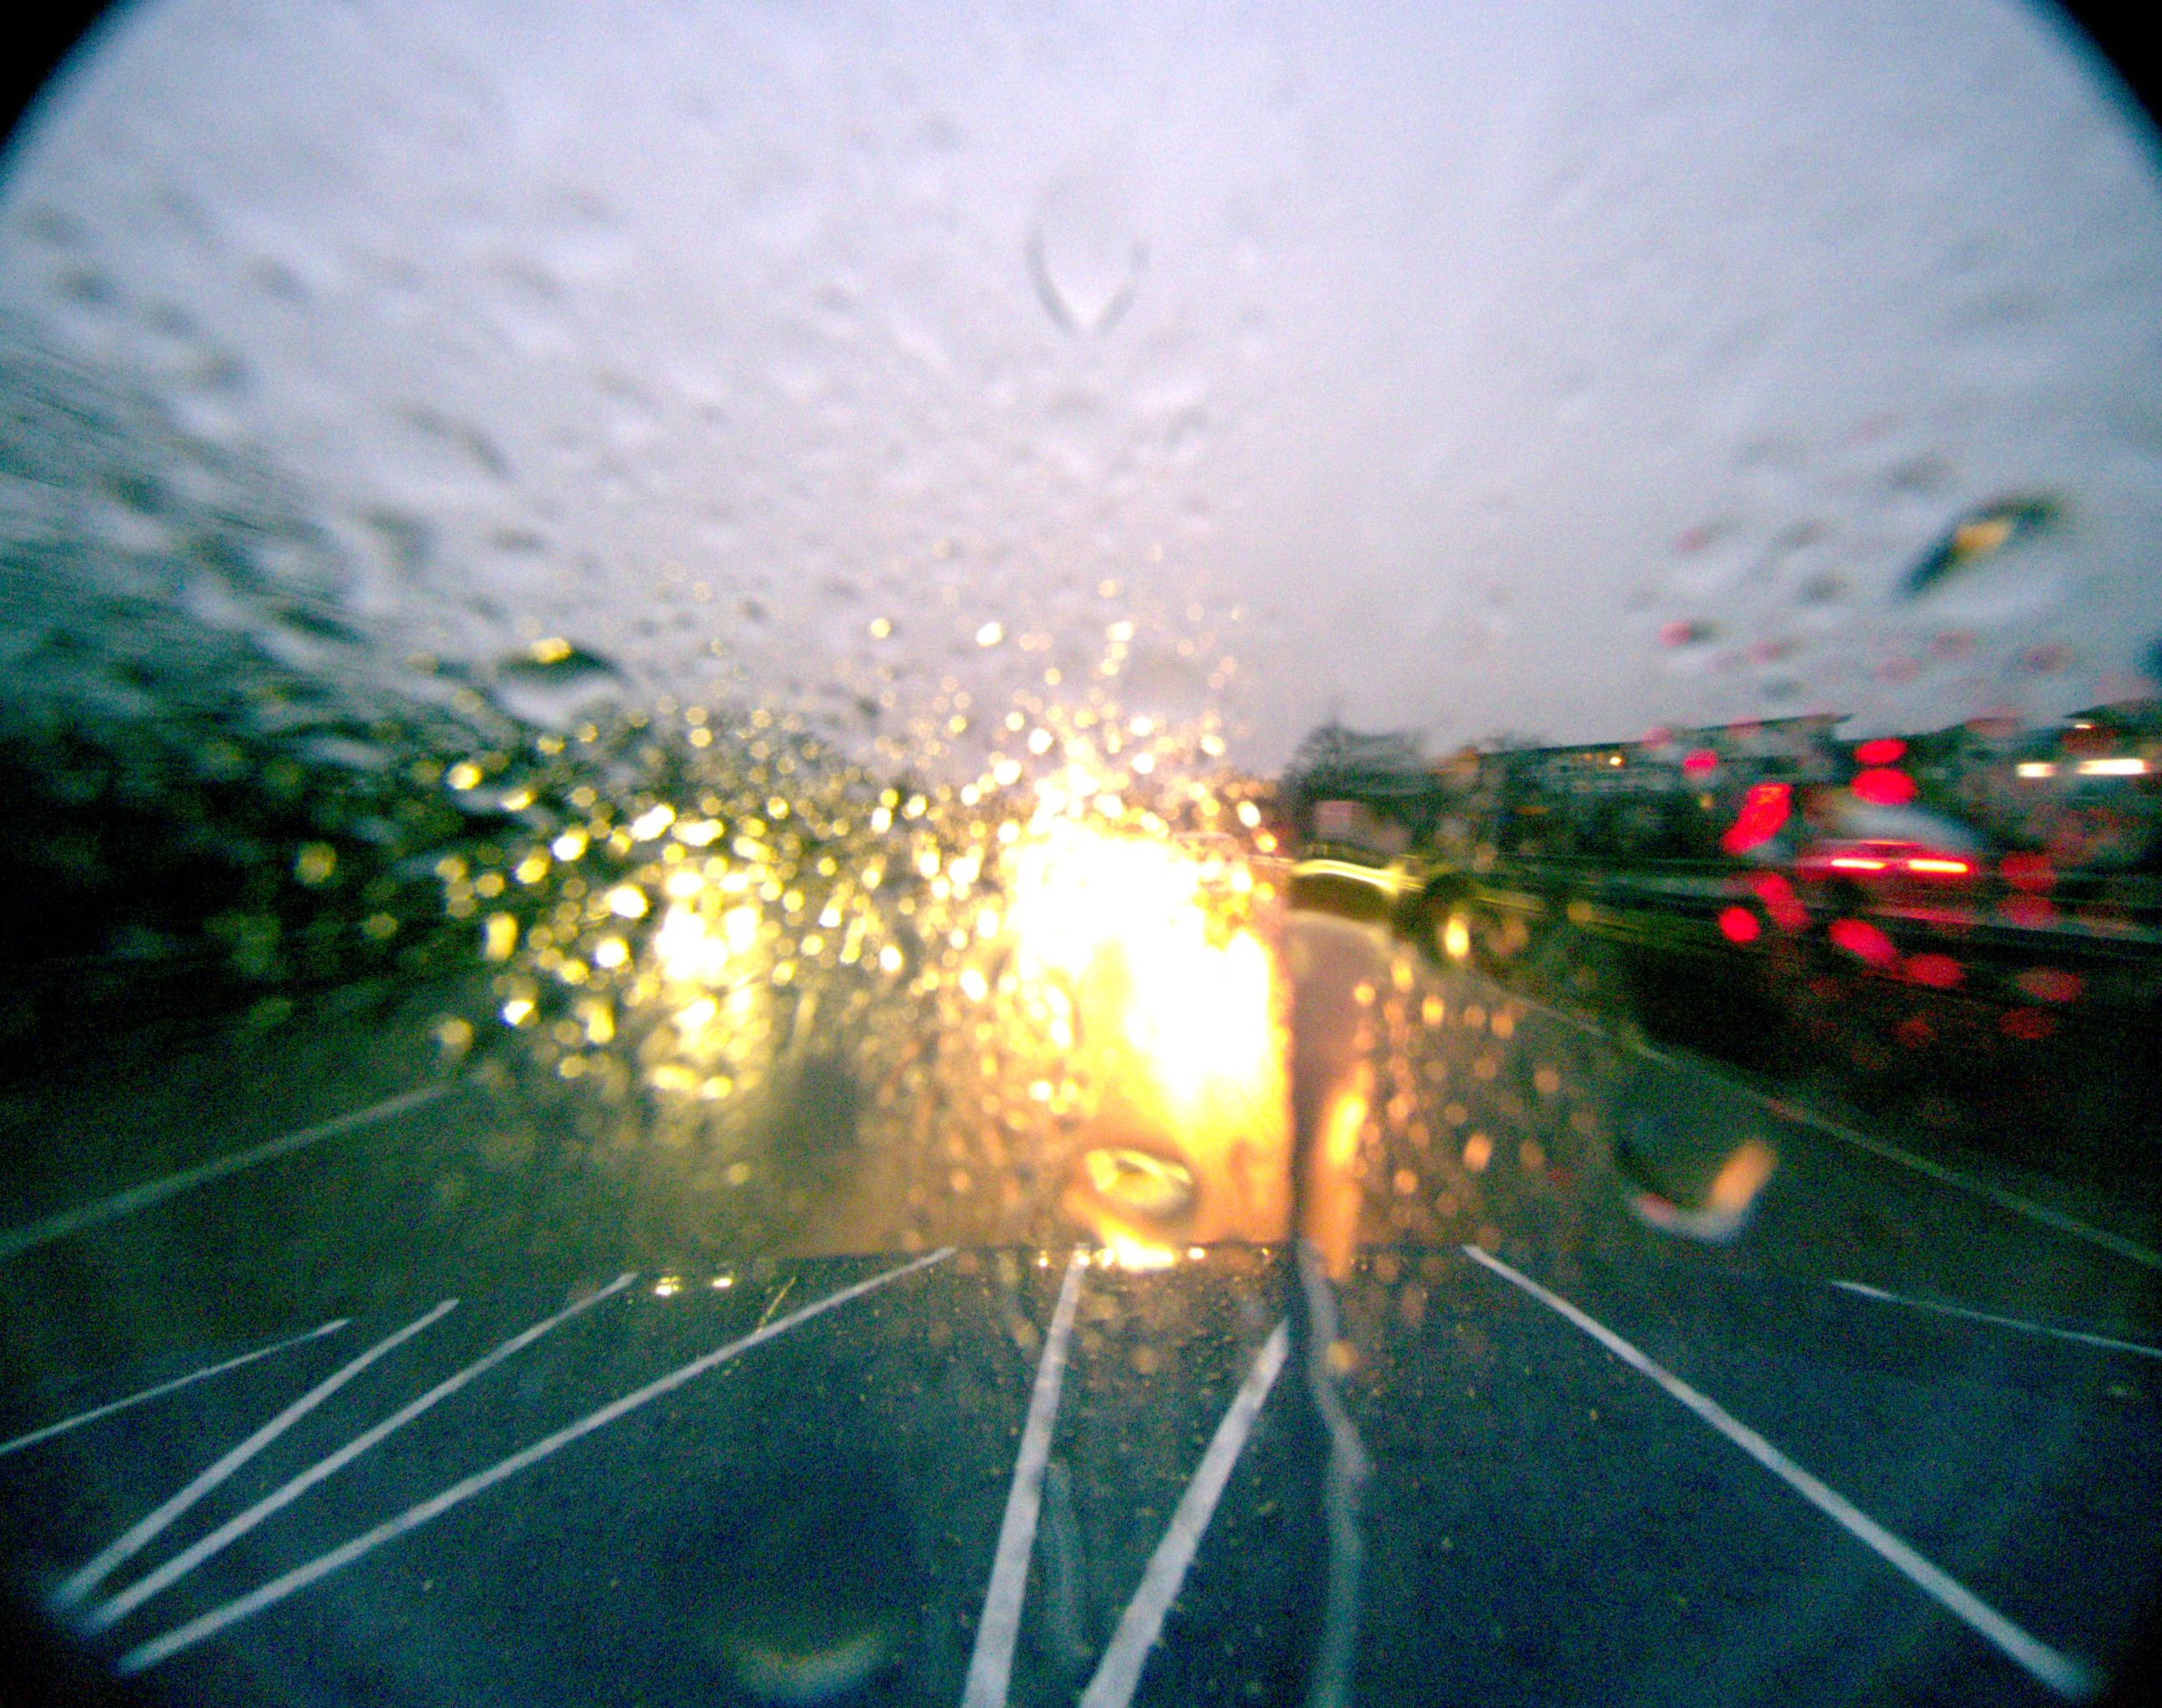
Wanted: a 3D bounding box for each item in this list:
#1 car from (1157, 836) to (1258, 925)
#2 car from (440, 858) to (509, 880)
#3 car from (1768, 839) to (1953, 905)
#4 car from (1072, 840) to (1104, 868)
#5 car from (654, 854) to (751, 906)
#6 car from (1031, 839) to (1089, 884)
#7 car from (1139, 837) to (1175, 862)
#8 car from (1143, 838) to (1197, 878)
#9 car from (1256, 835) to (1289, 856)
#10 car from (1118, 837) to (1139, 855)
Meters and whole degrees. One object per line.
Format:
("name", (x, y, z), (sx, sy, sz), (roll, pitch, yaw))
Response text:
("car", (2.491, 0.438, 15.808), (1.765, 1.590, 4.165), (0, 2, 5))
("car", (-44.766, 1.083, 56.119), (3.798, 1.426, 1.724), (-2, 2, -43))
("car", (20.960, 0.397, 20.735), (1.841, 1.553, 4.689), (-1, 1, 23))
("car", (0.456, -0.037, 44.990), (1.728, 1.573, 3.790), (0, 2, 2))
("car", (-11.487, 0.714, 22.923), (1.939, 1.351, 4.385), (-2, 1, -35))
("car", (-0.708, 0.216, 27.967), (1.830, 1.524, 4.000), (0, 2, 2))
("car", (4.451, -0.305, 45.015), (1.697, 1.327, 3.999), (-2, 2, 0))
("car", (3.638, 0.117, 31.809), (2.026, 1.522, 4.145), (0, 2, 3))
("car", (18.011, -0.831, 71.610), (1.998, 1.907, 4.286), (-2, 1, 1))
("car", (4.625, -0.819, 74.047), (1.852, 1.610, 3.950), (-2, 2, 1))
